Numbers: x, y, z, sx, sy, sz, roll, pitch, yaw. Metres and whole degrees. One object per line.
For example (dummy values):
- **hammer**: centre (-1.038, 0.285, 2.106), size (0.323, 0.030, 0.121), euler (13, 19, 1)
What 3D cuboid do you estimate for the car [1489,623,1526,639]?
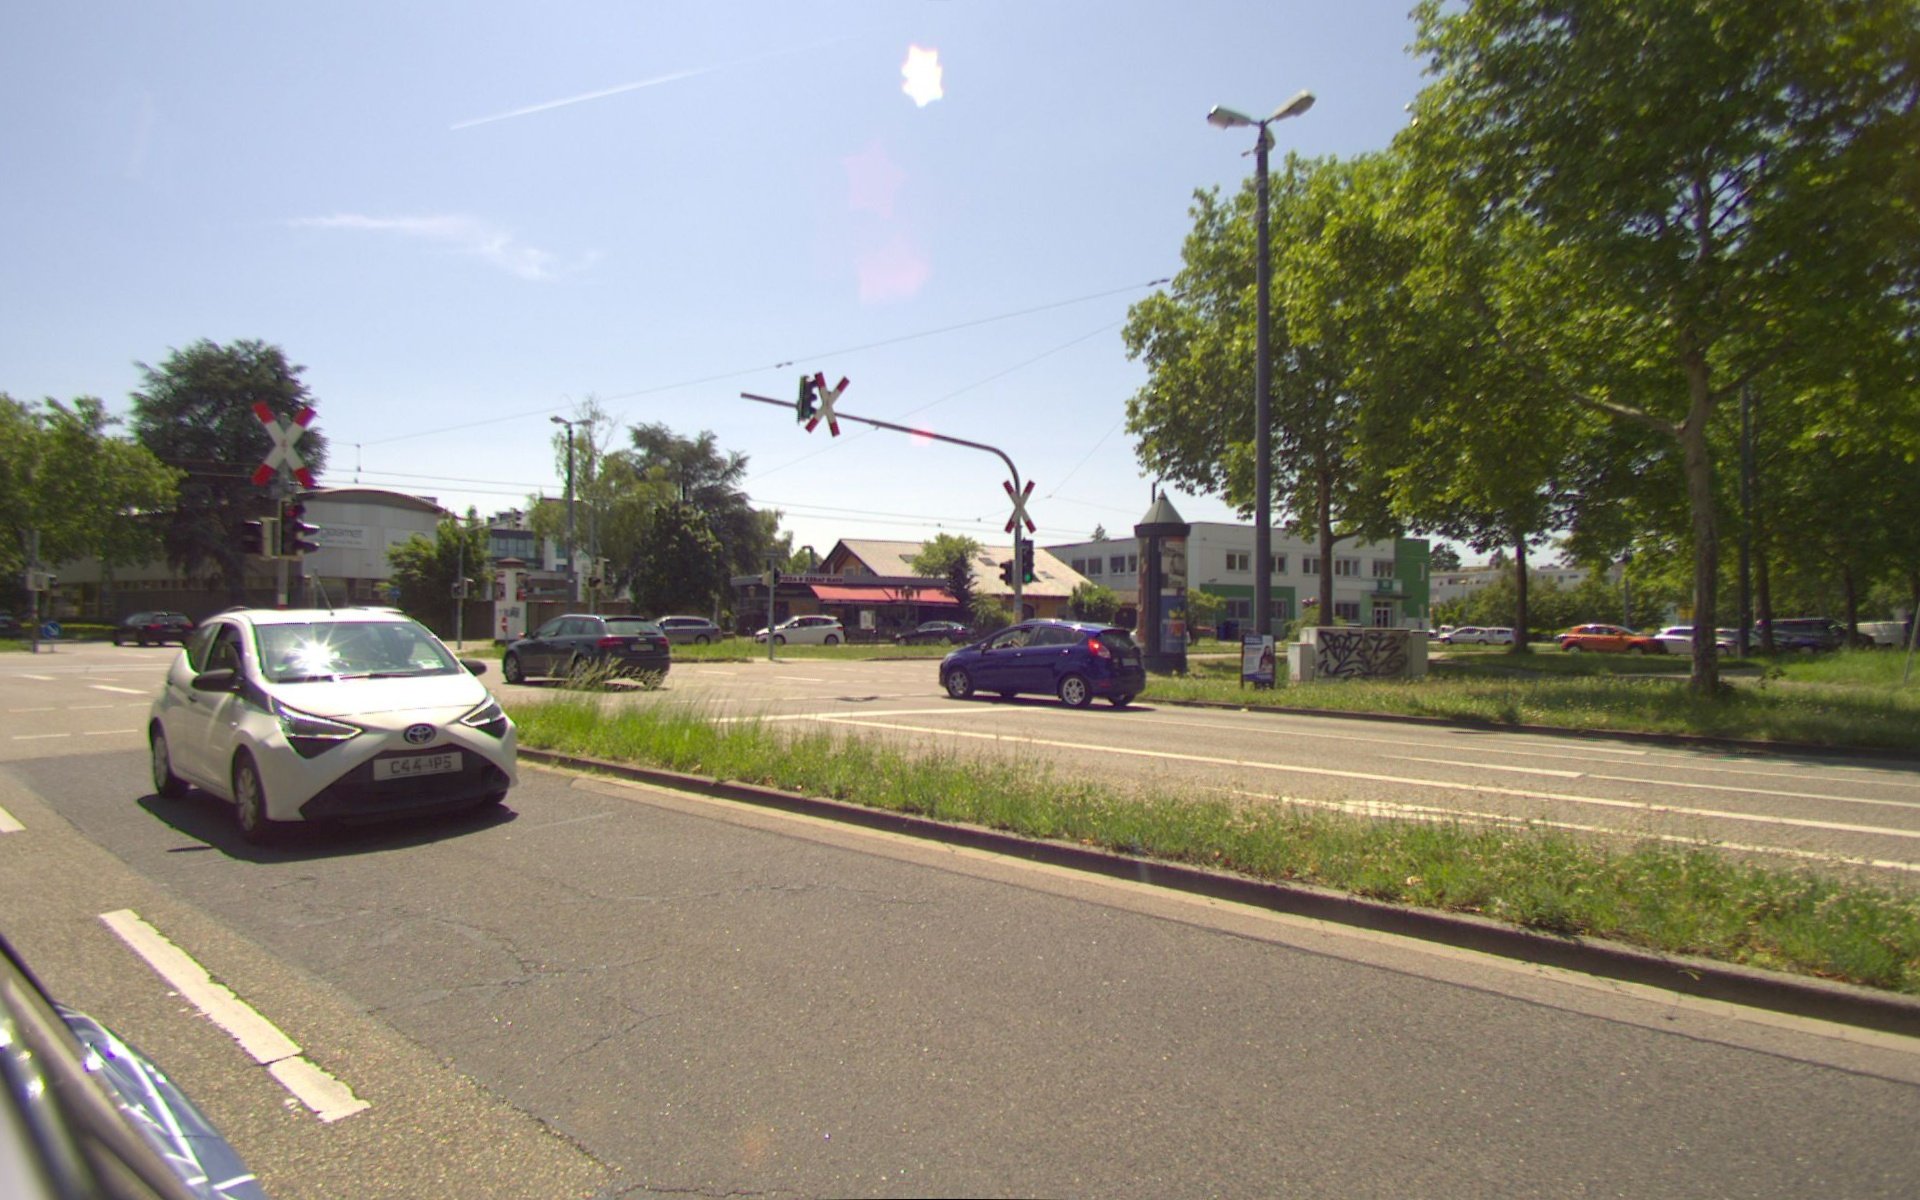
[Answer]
- **car**: centre (45.005, 2.528, 83.217), size (2.602, 1.214, 1.110), euler (0, -1, 29)

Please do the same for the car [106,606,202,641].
- **car**: centre (-35.200, 0.978, 44.155), size (4.733, 1.451, 1.933), euler (0, -1, 34)

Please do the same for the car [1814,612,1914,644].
- **car**: centre (47.810, 1.466, 53.573), size (1.599, 1.621, 3.773), euler (1, -1, -39)

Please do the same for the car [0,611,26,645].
- **car**: centre (-45.389, 1.275, 47.060), size (4.286, 1.550, 1.893), euler (0, -1, 34)

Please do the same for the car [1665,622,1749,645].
- **car**: centre (36.913, 1.665, 50.043), size (1.366, 1.093, 3.057), euler (2, -2, -37)

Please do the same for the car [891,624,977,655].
- **car**: centre (-1.457, 2.170, 56.020), size (4.554, 1.663, 1.764), euler (-1, -2, 32)

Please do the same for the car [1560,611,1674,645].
- **car**: centre (29.979, 1.262, 46.305), size (1.434, 1.407, 4.148), euler (0, 0, -34)

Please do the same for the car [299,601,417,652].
- **car**: centre (-20.316, 0.893, 34.097), size (4.394, 1.627, 1.772), euler (-1, -2, 35)

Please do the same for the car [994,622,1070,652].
- **car**: centre (4.244, 2.163, 59.845), size (4.181, 1.663, 1.764), euler (-1, -2, 33)

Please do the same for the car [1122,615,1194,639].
- **car**: centre (12.452, 1.653, 63.672), size (4.052, 1.434, 1.923), euler (0, -1, 36)

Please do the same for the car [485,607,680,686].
- **car**: centre (-7.587, 0.886, 20.203), size (4.173, 1.406, 1.719), euler (0, -3, 39)

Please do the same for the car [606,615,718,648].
- **car**: centre (-13.525, 1.406, 46.023), size (4.590, 1.391, 1.893), euler (1, -1, -30)

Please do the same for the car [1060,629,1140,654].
- **car**: centre (8.346, 2.442, 60.520), size (4.375, 1.422, 1.858), euler (-1, -2, 33)

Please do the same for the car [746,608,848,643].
- **car**: centre (-7.795, 1.212, 48.440), size (4.384, 1.617, 2.224), euler (1, -2, -26)

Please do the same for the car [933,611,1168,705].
- **car**: centre (1.537, 0.955, 17.870), size (3.864, 1.466, 1.703), euler (0, -2, 39)

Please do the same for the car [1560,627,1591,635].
- **car**: centre (53.452, 2.685, 87.905), size (2.286, 0.648, 0.766), euler (-1, -2, 37)

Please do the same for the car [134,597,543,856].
- **car**: centre (-4.774, 0.731, 7.582), size (3.650, 1.456, 1.602), euler (-1, 0, 41)

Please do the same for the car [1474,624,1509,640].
- **car**: centre (42.566, 2.544, 81.100), size (2.444, 1.214, 1.110), euler (0, -1, 29)

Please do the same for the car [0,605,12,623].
- **car**: centre (-90.683, 1.319, 93.337), size (1.904, 1.692, 4.412), euler (-1, -1, 21)

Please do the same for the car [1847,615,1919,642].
- **car**: centre (54.356, 1.655, 59.499), size (1.453, 1.500, 3.072), euler (1, -1, -32)

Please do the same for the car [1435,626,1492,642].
- **car**: centre (39.770, 2.645, 80.019), size (3.887, 1.214, 1.345), euler (-1, -2, 37)
